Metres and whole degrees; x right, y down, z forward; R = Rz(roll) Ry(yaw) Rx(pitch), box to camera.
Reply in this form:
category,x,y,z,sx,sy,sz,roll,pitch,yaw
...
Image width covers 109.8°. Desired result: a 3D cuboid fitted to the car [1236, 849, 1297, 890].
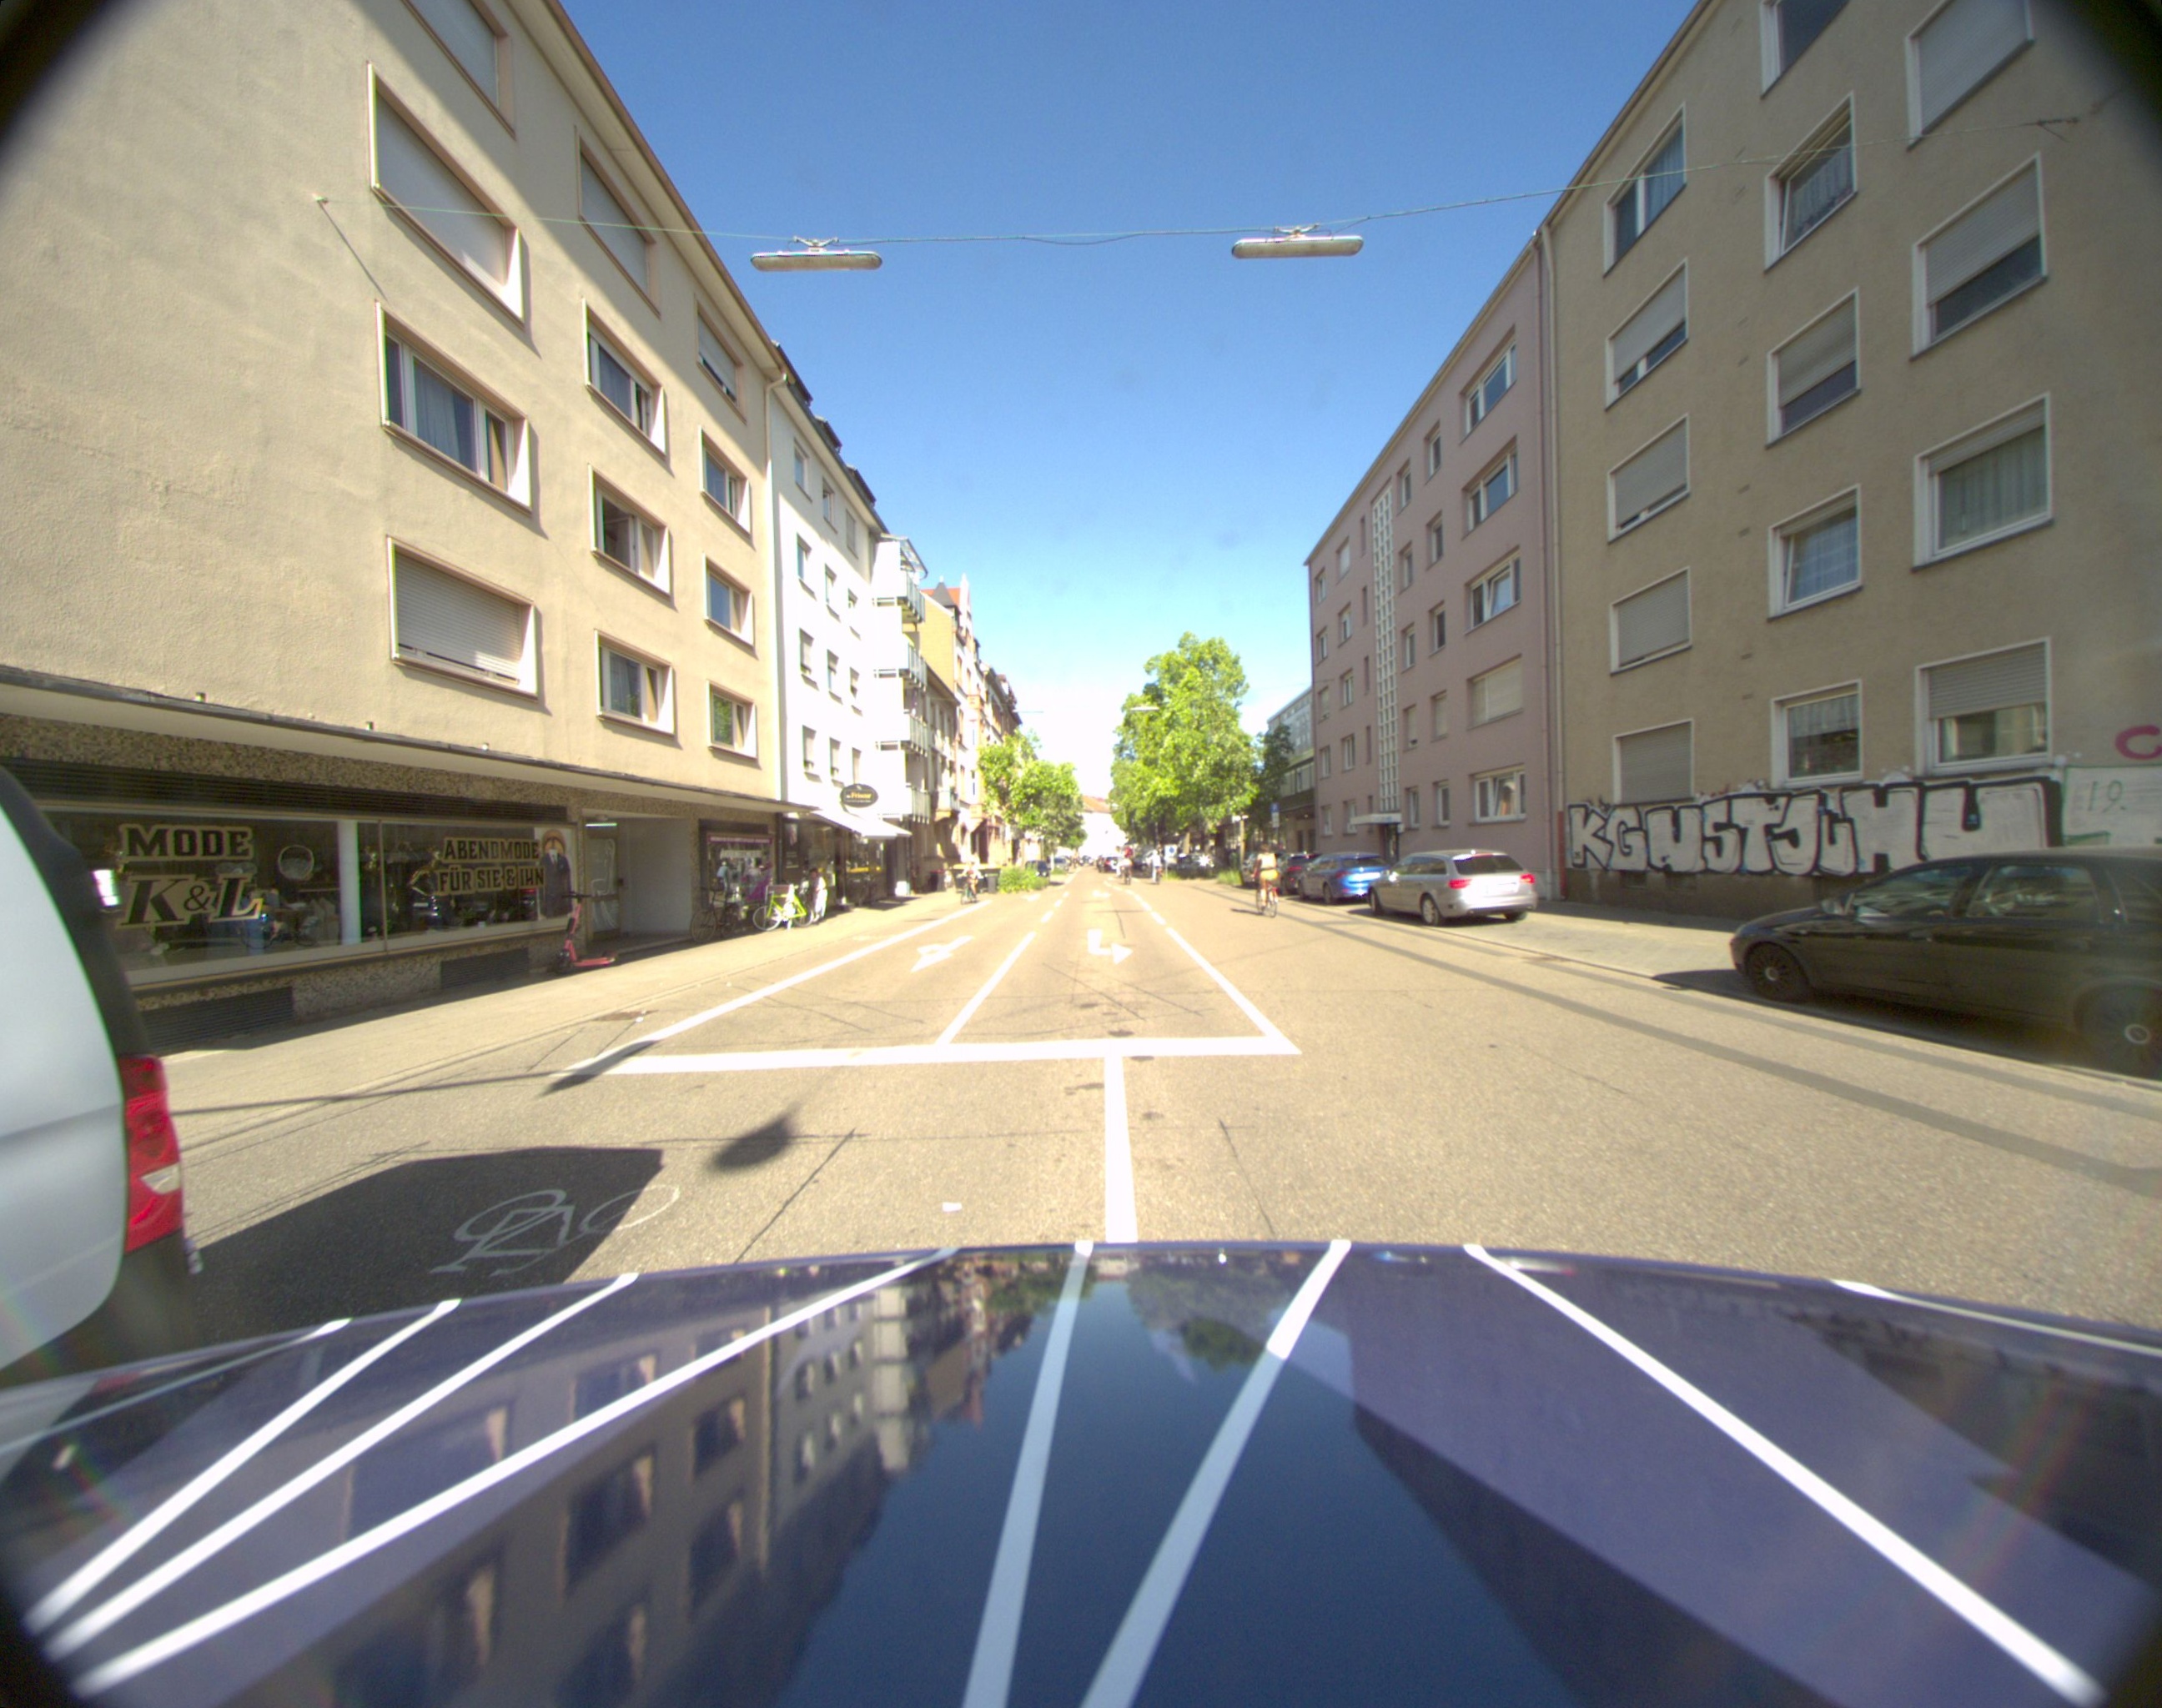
category,x,y,z,sx,sy,sz,roll,pitch,yaw
car,8.015,0.621,33.105,1.727,1.567,4.158,-4,0,3

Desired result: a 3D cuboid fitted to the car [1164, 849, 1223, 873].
category,x,y,z,sx,sy,sz,roll,pitch,yaw
car,8.036,0.488,54.620,3.996,1.543,1.913,-2,0,3

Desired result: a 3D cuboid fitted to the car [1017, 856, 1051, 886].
category,x,y,z,sx,sy,sz,roll,pitch,yaw
car,-2.684,0.968,44.185,1.627,1.586,3.547,-2,0,1

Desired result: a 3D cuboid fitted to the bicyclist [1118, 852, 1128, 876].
category,x,y,z,sx,sy,sz,roll,pitch,yaw
bicyclist,2.846,0.675,51.752,0.681,1.567,0.899,0,1,1

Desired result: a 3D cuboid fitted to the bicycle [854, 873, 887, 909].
category,x,y,z,sx,sy,sz,roll,pitch,yaw
bicycle,-7.251,1.250,26.246,0.598,1.137,1.774,1,0,1

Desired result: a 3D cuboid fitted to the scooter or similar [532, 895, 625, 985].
category,x,y,z,sx,sy,sz,roll,pitch,yaw
scooter or similar,-7.605,1.278,11.553,0.527,1.218,1.228,-2,0,1

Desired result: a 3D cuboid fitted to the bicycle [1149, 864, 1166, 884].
category,x,y,z,sx,sy,sz,roll,pitch,yaw
bicycle,4.009,1.015,39.686,0.681,0.946,1.933,-3,0,1

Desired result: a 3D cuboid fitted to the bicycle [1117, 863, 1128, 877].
category,x,y,z,sx,sy,sz,roll,pitch,yaw
bicycle,2.838,1.083,51.789,0.681,0.946,1.933,0,0,1

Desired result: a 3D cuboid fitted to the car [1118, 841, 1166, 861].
category,x,y,z,sx,sy,sz,roll,pitch,yaw
car,7.541,-0.376,93.510,5.560,2.379,1.977,-2,1,-6

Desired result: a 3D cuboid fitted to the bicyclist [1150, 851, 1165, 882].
category,x,y,z,sx,sy,sz,roll,pitch,yaw
bicyclist,4.004,0.645,39.765,0.681,1.621,0.899,0,1,1

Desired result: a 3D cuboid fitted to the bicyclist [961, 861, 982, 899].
category,x,y,z,sx,sy,sz,roll,pitch,yaw
bicyclist,-4.061,0.939,28.165,0.582,1.369,0.665,-2,1,6

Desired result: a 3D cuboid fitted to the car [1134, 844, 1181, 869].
category,x,y,z,sx,sy,sz,roll,pitch,yaw
car,6.580,0.232,65.520,3.875,2.031,1.913,-2,1,3

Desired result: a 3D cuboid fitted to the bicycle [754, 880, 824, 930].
category,x,y,z,sx,sy,sz,roll,pitch,yaw
bicycle,-7.205,1.239,18.759,1.497,1.100,0.722,-2,1,-31

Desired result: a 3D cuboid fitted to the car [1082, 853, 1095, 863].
category,x,y,z,sx,sy,sz,roll,pitch,yaw
car,0.989,0.519,101.648,1.627,1.270,3.547,-2,0,3

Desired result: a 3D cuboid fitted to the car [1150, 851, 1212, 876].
category,x,y,z,sx,sy,sz,roll,pitch,yaw
car,6.731,0.603,51.484,3.996,1.543,1.913,-2,0,3

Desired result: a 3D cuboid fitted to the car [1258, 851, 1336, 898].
category,x,y,z,sx,sy,sz,roll,pitch,yaw
car,7.789,0.688,27.770,1.727,1.459,4.158,-4,0,3

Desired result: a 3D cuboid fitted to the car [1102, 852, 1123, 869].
category,x,y,z,sx,sy,sz,roll,pitch,yaw
car,3.038,0.655,74.727,1.911,1.543,4.000,-2,0,1

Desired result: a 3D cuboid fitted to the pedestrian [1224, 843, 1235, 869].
category,x,y,z,sx,sy,sz,roll,pitch,yaw
pedestrian,10.115,0.132,51.667,0.623,1.795,0.502,-2,1,2

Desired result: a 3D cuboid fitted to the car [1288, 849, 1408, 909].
category,x,y,z,sx,sy,sz,roll,pitch,yaw
car,7.776,0.654,22.680,1.828,1.494,4.801,-4,0,0

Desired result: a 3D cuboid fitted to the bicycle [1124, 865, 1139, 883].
category,x,y,z,sx,sy,sz,roll,pitch,yaw
bicycle,2.670,1.061,40.391,0.544,0.897,1.825,-2,0,-5

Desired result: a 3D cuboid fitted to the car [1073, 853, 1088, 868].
category,x,y,z,sx,sy,sz,roll,pitch,yaw
car,-0.044,0.715,88.318,1.627,1.586,3.547,-2,0,1

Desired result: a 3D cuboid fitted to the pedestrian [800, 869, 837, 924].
category,x,y,z,sx,sy,sz,roll,pitch,yaw
pedestrian,-7.181,1.158,20.819,0.775,1.434,0.625,-2,1,-4

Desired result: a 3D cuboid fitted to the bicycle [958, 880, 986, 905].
category,x,y,z,sx,sy,sz,roll,pitch,yaw
bicycle,-4.040,1.421,28.265,0.582,0.801,1.710,-2,0,6

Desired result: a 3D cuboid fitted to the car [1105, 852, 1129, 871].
category,x,y,z,sx,sy,sz,roll,pitch,yaw
car,3.060,0.615,65.371,1.911,1.543,4.000,-2,0,1

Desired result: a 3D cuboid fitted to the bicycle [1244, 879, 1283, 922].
category,x,y,z,sx,sy,sz,roll,pitch,yaw
bicycle,4.399,1.103,18.424,0.544,0.897,1.826,-2,0,1

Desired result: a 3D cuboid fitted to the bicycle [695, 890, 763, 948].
category,x,y,z,sx,sy,sz,roll,pitch,yaw
bicycle,-7.426,1.341,16.112,0.407,1.078,1.801,1,0,6

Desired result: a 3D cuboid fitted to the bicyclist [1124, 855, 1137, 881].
category,x,y,z,sx,sy,sz,roll,pitch,yaw
bicyclist,2.636,0.744,40.608,0.544,1.383,0.788,-2,1,-5

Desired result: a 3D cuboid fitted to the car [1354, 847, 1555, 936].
category,x,y,z,sx,sy,sz,roll,pitch,yaw
car,7.614,0.677,16.135,1.828,1.494,4.801,-4,0,0

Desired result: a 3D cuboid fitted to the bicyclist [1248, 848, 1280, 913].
category,x,y,z,sx,sy,sz,roll,pitch,yaw
bicyclist,4.380,0.632,18.204,0.544,1.512,0.774,-2,1,1

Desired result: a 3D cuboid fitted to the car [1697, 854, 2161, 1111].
category,x,y,z,sx,sy,sz,roll,pitch,yaw
car,7.357,0.781,6.062,1.695,1.440,3.856,-4,0,0
